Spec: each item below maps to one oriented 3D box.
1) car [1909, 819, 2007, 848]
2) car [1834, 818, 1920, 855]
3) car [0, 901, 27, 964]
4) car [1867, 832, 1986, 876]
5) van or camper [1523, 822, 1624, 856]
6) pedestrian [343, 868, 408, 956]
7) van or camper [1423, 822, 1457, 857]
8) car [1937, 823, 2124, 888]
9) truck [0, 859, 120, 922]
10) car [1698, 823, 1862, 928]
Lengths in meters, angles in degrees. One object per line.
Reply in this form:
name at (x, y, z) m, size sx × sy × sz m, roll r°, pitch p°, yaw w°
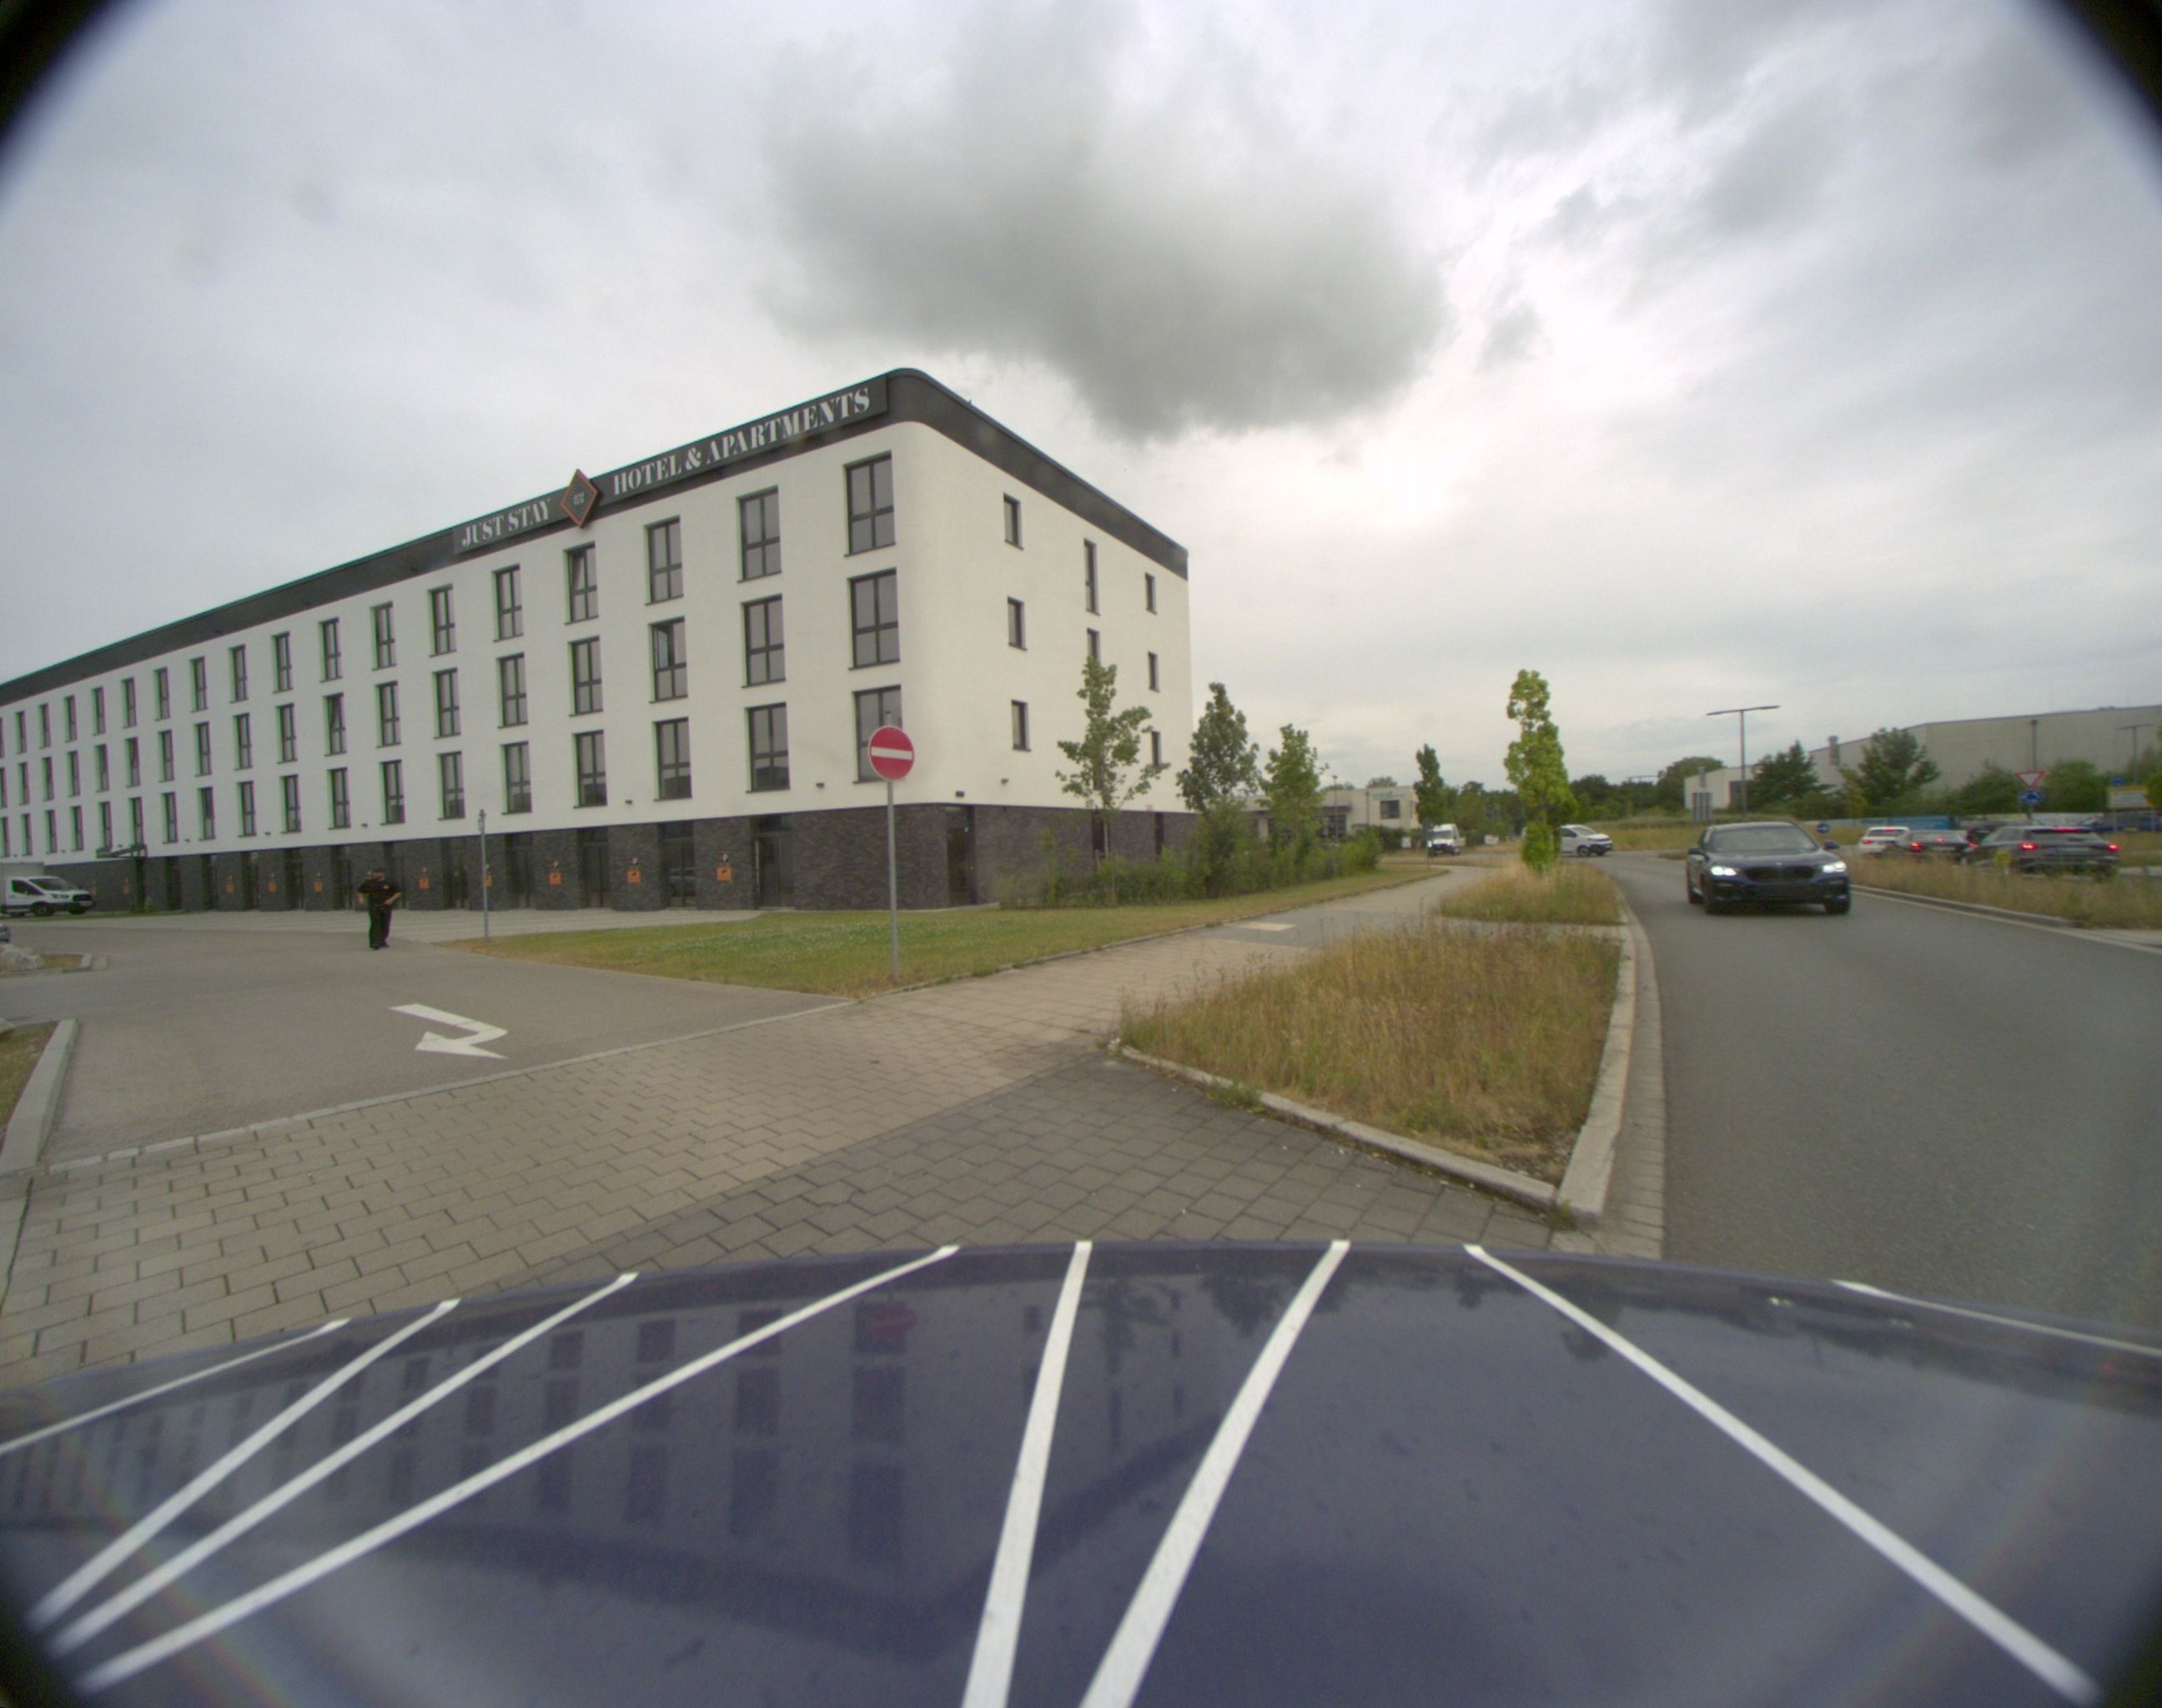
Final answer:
car at (46.037, -1.061, 39.927) m, size 3.291 × 1.346 × 1.560 m, roll -2°, pitch 1°, yaw 0°
car at (35.651, -0.829, 34.157) m, size 1.753 × 1.472 × 4.062 m, roll -1°, pitch 3°, yaw 32°
car at (-28.568, 2.006, 19.118) m, size 4.758 × 1.483 × 1.985 m, roll -2°, pitch 0°, yaw 31°
car at (30.911, -0.036, 27.942) m, size 1.786 × 1.388 × 4.378 m, roll -1°, pitch 2°, yaw 32°
van or camper at (30.132, -0.865, 46.659) m, size 1.985 × 1.880 × 4.832 m, roll -3°, pitch 1°, yaw -23°
pedestrian at (-15.277, 1.231, 16.453) m, size 0.811 × 1.812 × 0.711 m, roll -2°, pitch 2°, yaw 30°
van or camper at (29.182, -1.223, 61.868) m, size 1.996 × 2.568 × 5.472 m, roll -2°, pitch 2°, yaw 21°
car at (25.151, -0.026, 20.353) m, size 1.793 × 1.458 × 4.327 m, roll -2°, pitch 2°, yaw 32°
truck at (-56.077, 1.988, 39.667) m, size 7.072 × 3.000 × 2.433 m, roll -3°, pitch 2°, yaw -15°
car at (12.944, 0.298, 14.315) m, size 1.889 × 1.631 × 4.007 m, roll -2°, pitch 2°, yaw 37°
